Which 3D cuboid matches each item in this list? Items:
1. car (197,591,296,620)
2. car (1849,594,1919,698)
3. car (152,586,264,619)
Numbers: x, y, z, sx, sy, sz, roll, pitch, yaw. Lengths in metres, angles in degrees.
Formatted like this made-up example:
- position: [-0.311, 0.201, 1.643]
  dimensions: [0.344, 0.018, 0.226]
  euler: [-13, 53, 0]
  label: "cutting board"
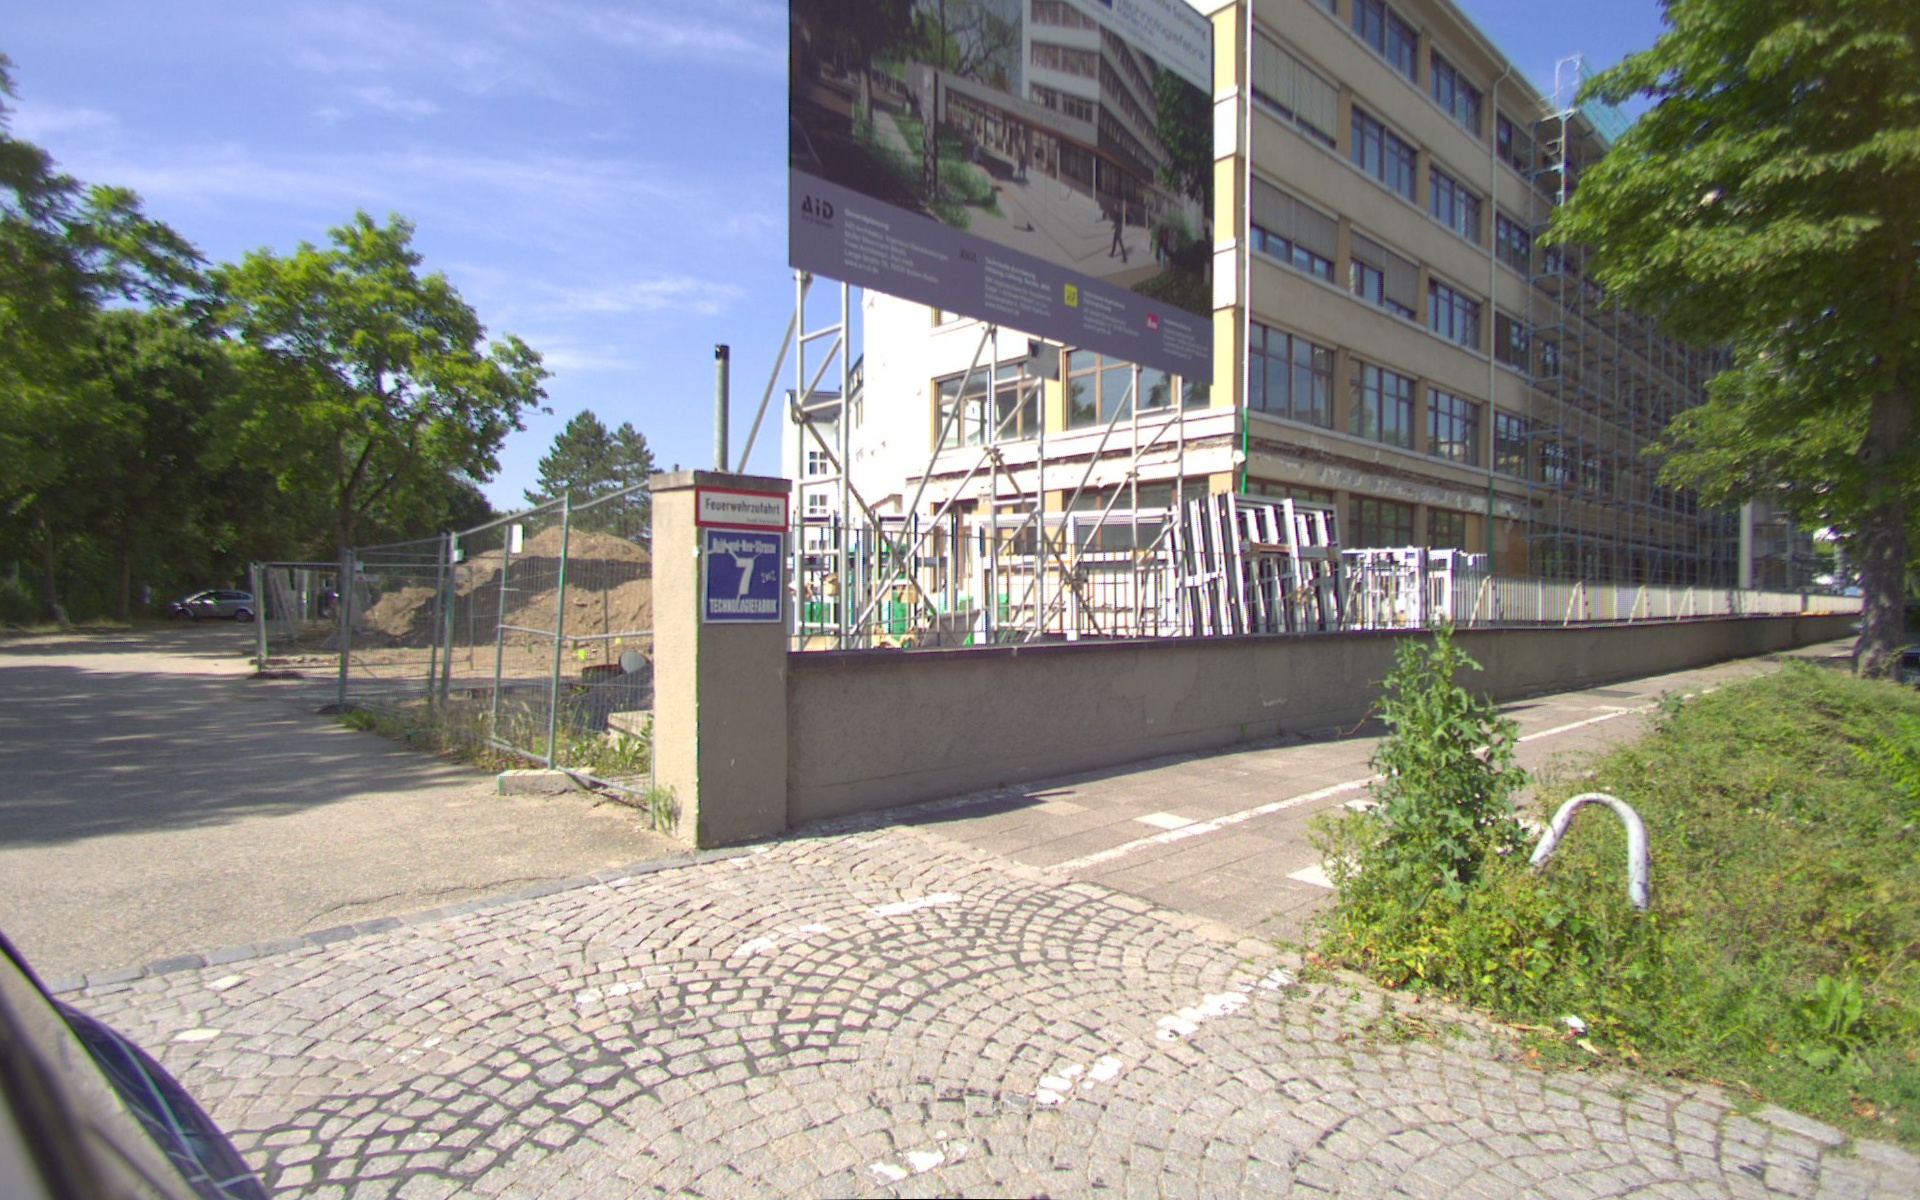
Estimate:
- position: [-37.544, 0.289, 53.388]
  dimensions: [3.930, 1.453, 2.007]
  euler: [0, 0, -23]
  label: "car"
- position: [15.476, 0.678, 15.993]
  dimensions: [4.046, 1.506, 1.823]
  euler: [0, 0, -44]
  label: "car"
- position: [-35.780, 0.120, 48.278]
  dimensions: [3.930, 1.519, 2.007]
  euler: [0, 0, -23]
  label: "car"
